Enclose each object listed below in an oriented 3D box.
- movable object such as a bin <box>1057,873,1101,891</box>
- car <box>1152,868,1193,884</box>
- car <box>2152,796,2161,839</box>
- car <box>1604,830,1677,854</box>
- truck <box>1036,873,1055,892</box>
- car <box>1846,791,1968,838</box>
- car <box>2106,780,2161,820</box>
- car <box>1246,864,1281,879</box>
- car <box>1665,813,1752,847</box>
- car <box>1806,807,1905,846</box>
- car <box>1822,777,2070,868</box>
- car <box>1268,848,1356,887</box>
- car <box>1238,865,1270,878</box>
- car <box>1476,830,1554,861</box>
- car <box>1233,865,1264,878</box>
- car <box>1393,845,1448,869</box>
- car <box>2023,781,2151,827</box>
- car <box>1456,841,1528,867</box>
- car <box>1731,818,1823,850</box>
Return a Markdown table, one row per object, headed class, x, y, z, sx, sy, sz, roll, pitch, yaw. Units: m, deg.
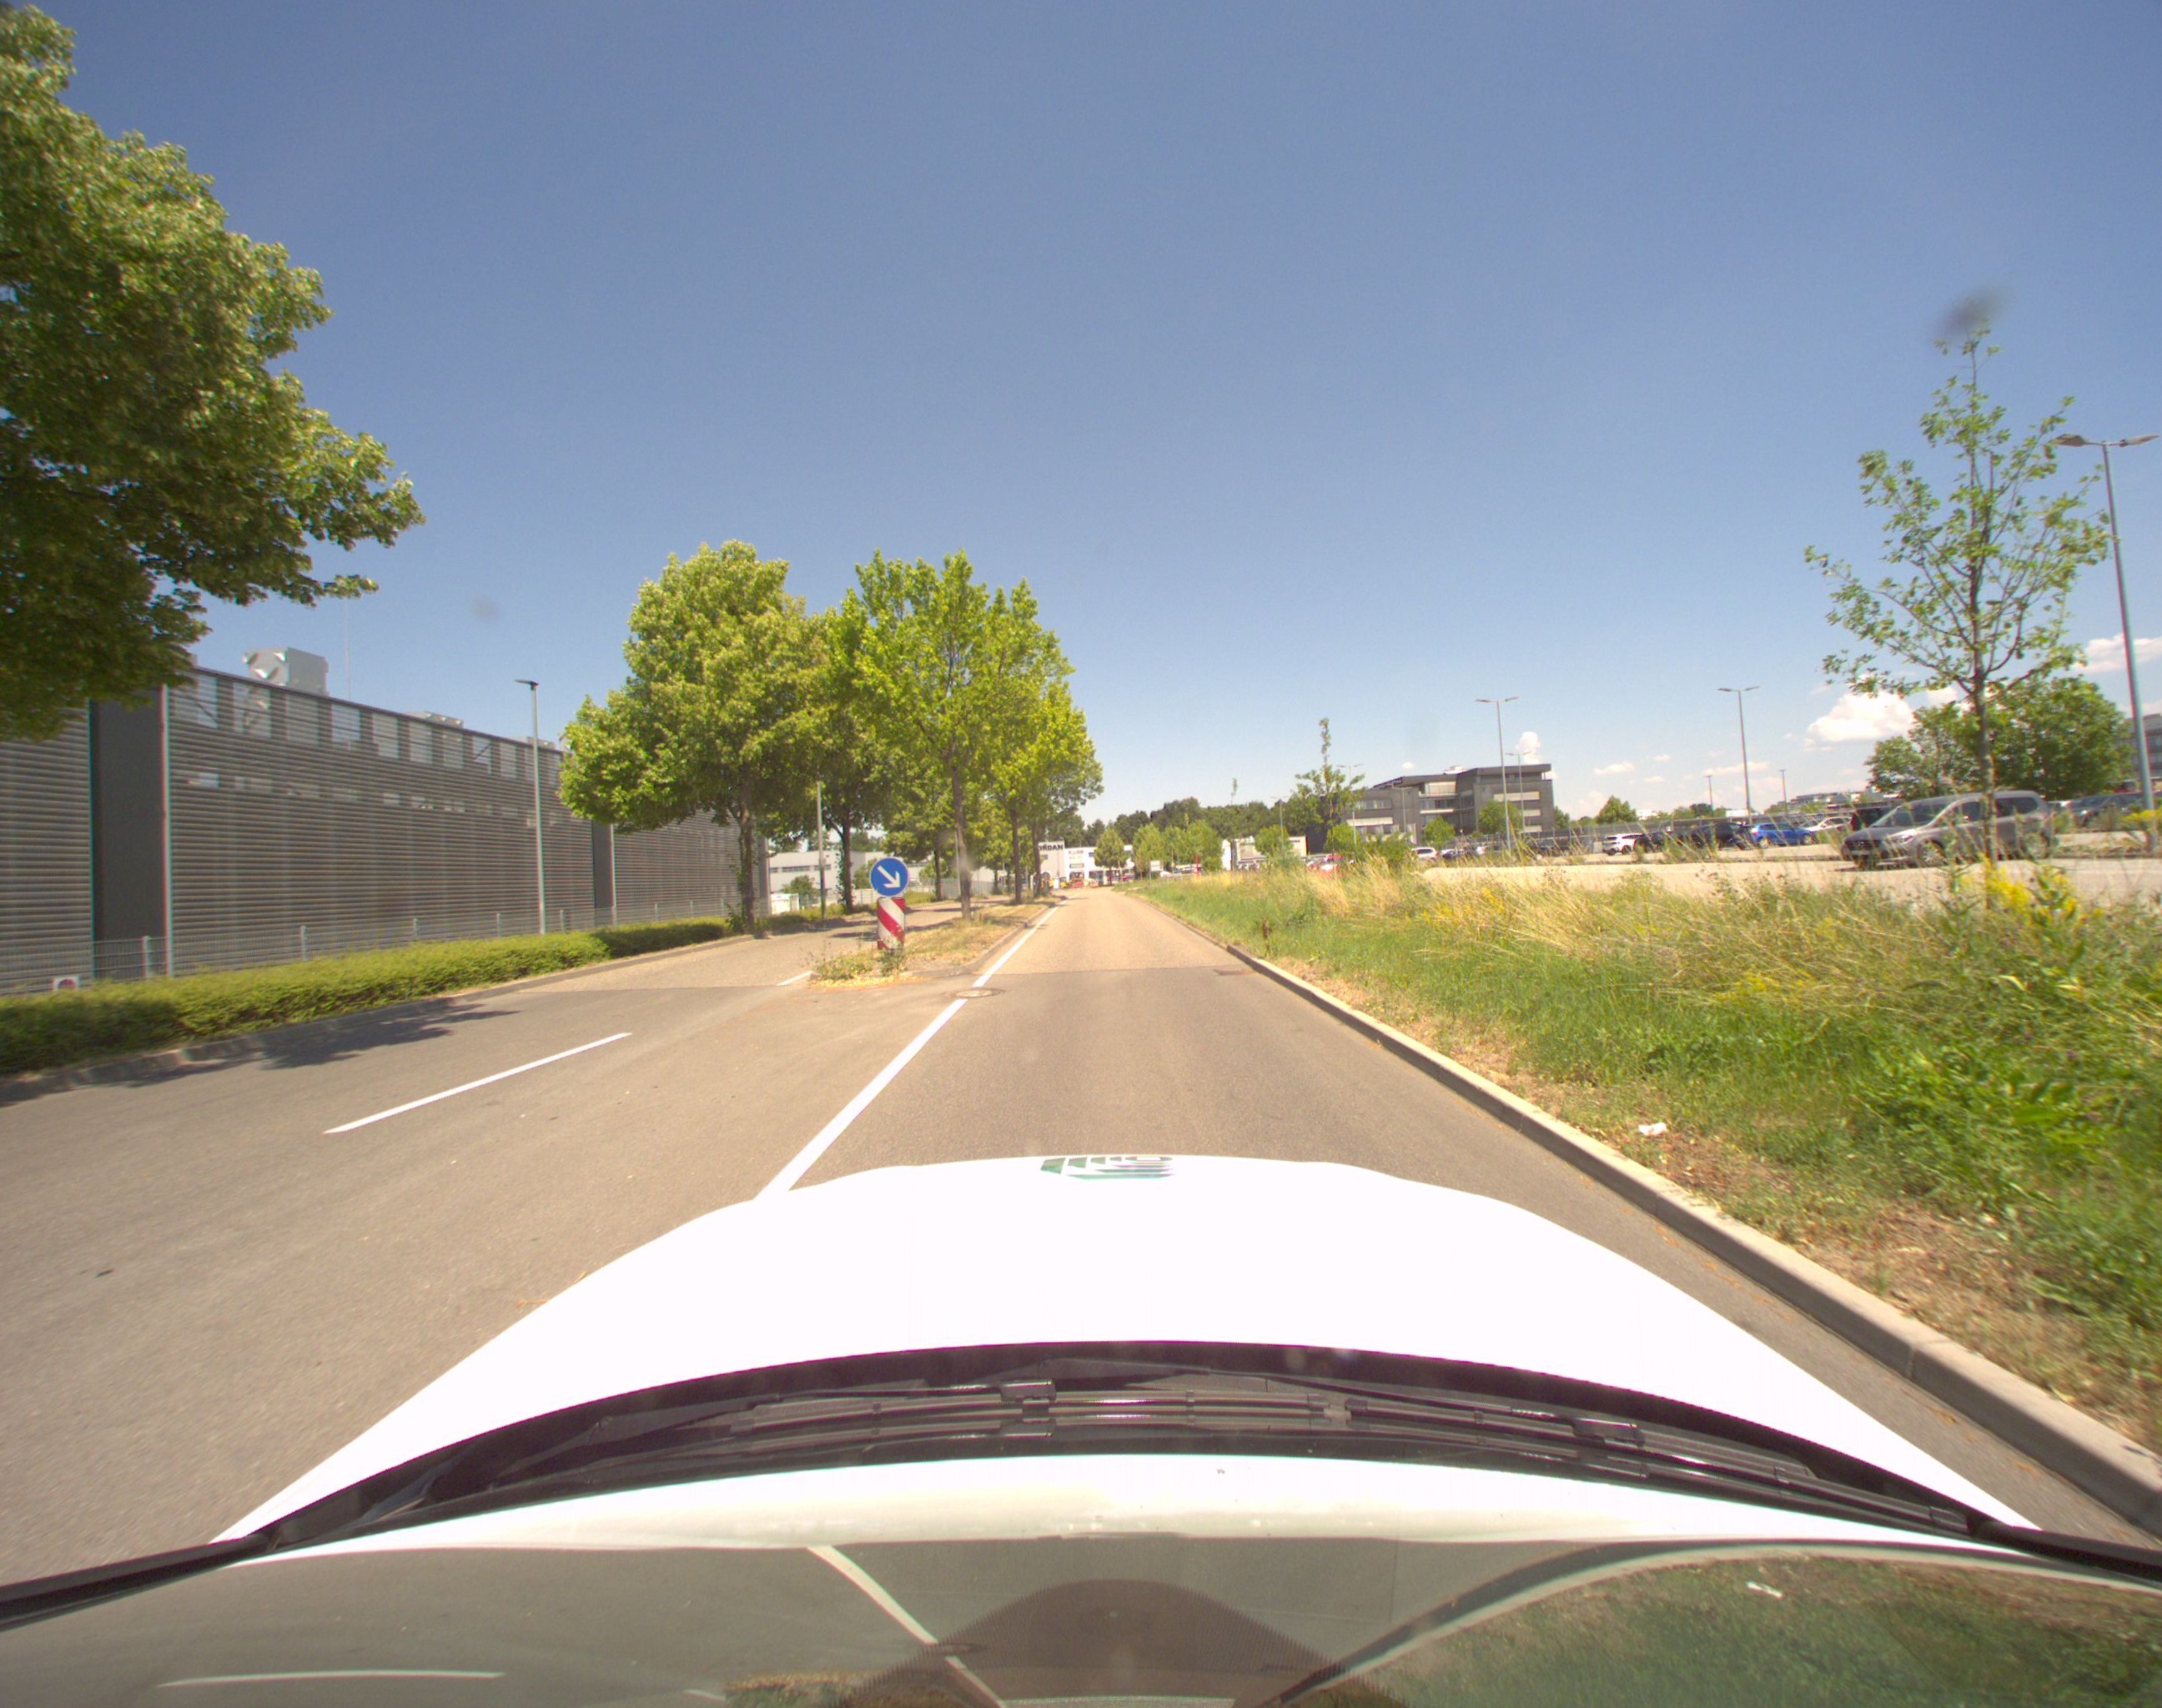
| class | x | y | z | sx | sy | sz | roll | pitch | yaw |
| --- | --- | --- | --- | --- | --- | --- | --- | --- | --- |
| movable object such as a bin | -0.351 | 5.294 | 153.438 | 7.483 | 2.499 | 3.675 | -5 | 1 | 8 |
| car | 10.986 | 2.657 | 98.070 | 4.686 | 1.400 | 1.923 | -5 | 1 | 2 |
| car | 44.077 | -1.590 | 31.296 | 3.990 | 1.639 | 1.992 | -5 | 1 | -12 |
| car | 39.531 | -0.849 | 57.571 | 3.980 | 1.341 | 1.693 | -4 | -2 | -5 |
| truck | -6.694 | 5.344 | 153.495 | 2.937 | 2.885 | 5.793 | -5 | 1 | -8 |
| car | 38.884 | -1.829 | 38.401 | 3.978 | 1.757 | 1.756 | -5 | -1 | -3 |
| car | 45.184 | -2.316 | 33.774 | 3.990 | 1.420 | 1.714 | -5 | 1 | -12 |
| car | 23.384 | 2.221 | 104.276 | 3.979 | 1.490 | 1.767 | -5 | 1 | -3 |
| car | 37.958 | -1.442 | 49.294 | 3.990 | 1.639 | 1.992 | -5 | 1 | -12 |
| car | 44.981 | -1.593 | 47.351 | 3.980 | 1.881 | 1.997 | -5 | 1 | -4 |
| car | 22.706 | -0.794 | 21.511 | 4.450 | 1.914 | 1.939 | -5 | 0 | -2 |
| car | 12.056 | 0.728 | 42.704 | 3.974 | 1.724 | 1.926 | -5 | -2 | 0 |
| car | 23.559 | 2.412 | 111.002 | 3.979 | 1.400 | 1.767 | -5 | 1 | -3 |
| car | 28.442 | -0.548 | 53.464 | 3.974 | 1.641 | 1.926 | -5 | -2 | 0 |
| car | 23.394 | 2.458 | 113.791 | 3.979 | 1.400 | 1.767 | -5 | 1 | -3 |
| car | 29.128 | 0.240 | 69.925 | 3.979 | 1.595 | 1.767 | -5 | 1 | -3 |
| car | 44.954 | -2.244 | 36.434 | 3.990 | 1.639 | 1.992 | -5 | 1 | -12 |
| car | 28.606 | 0.016 | 56.797 | 3.974 | 1.395 | 1.926 | -5 | -2 | 0 |
| car | 38.999 | -1.123 | 45.677 | 3.789 | 1.464 | 1.731 | -5 | 1 | -4 |
